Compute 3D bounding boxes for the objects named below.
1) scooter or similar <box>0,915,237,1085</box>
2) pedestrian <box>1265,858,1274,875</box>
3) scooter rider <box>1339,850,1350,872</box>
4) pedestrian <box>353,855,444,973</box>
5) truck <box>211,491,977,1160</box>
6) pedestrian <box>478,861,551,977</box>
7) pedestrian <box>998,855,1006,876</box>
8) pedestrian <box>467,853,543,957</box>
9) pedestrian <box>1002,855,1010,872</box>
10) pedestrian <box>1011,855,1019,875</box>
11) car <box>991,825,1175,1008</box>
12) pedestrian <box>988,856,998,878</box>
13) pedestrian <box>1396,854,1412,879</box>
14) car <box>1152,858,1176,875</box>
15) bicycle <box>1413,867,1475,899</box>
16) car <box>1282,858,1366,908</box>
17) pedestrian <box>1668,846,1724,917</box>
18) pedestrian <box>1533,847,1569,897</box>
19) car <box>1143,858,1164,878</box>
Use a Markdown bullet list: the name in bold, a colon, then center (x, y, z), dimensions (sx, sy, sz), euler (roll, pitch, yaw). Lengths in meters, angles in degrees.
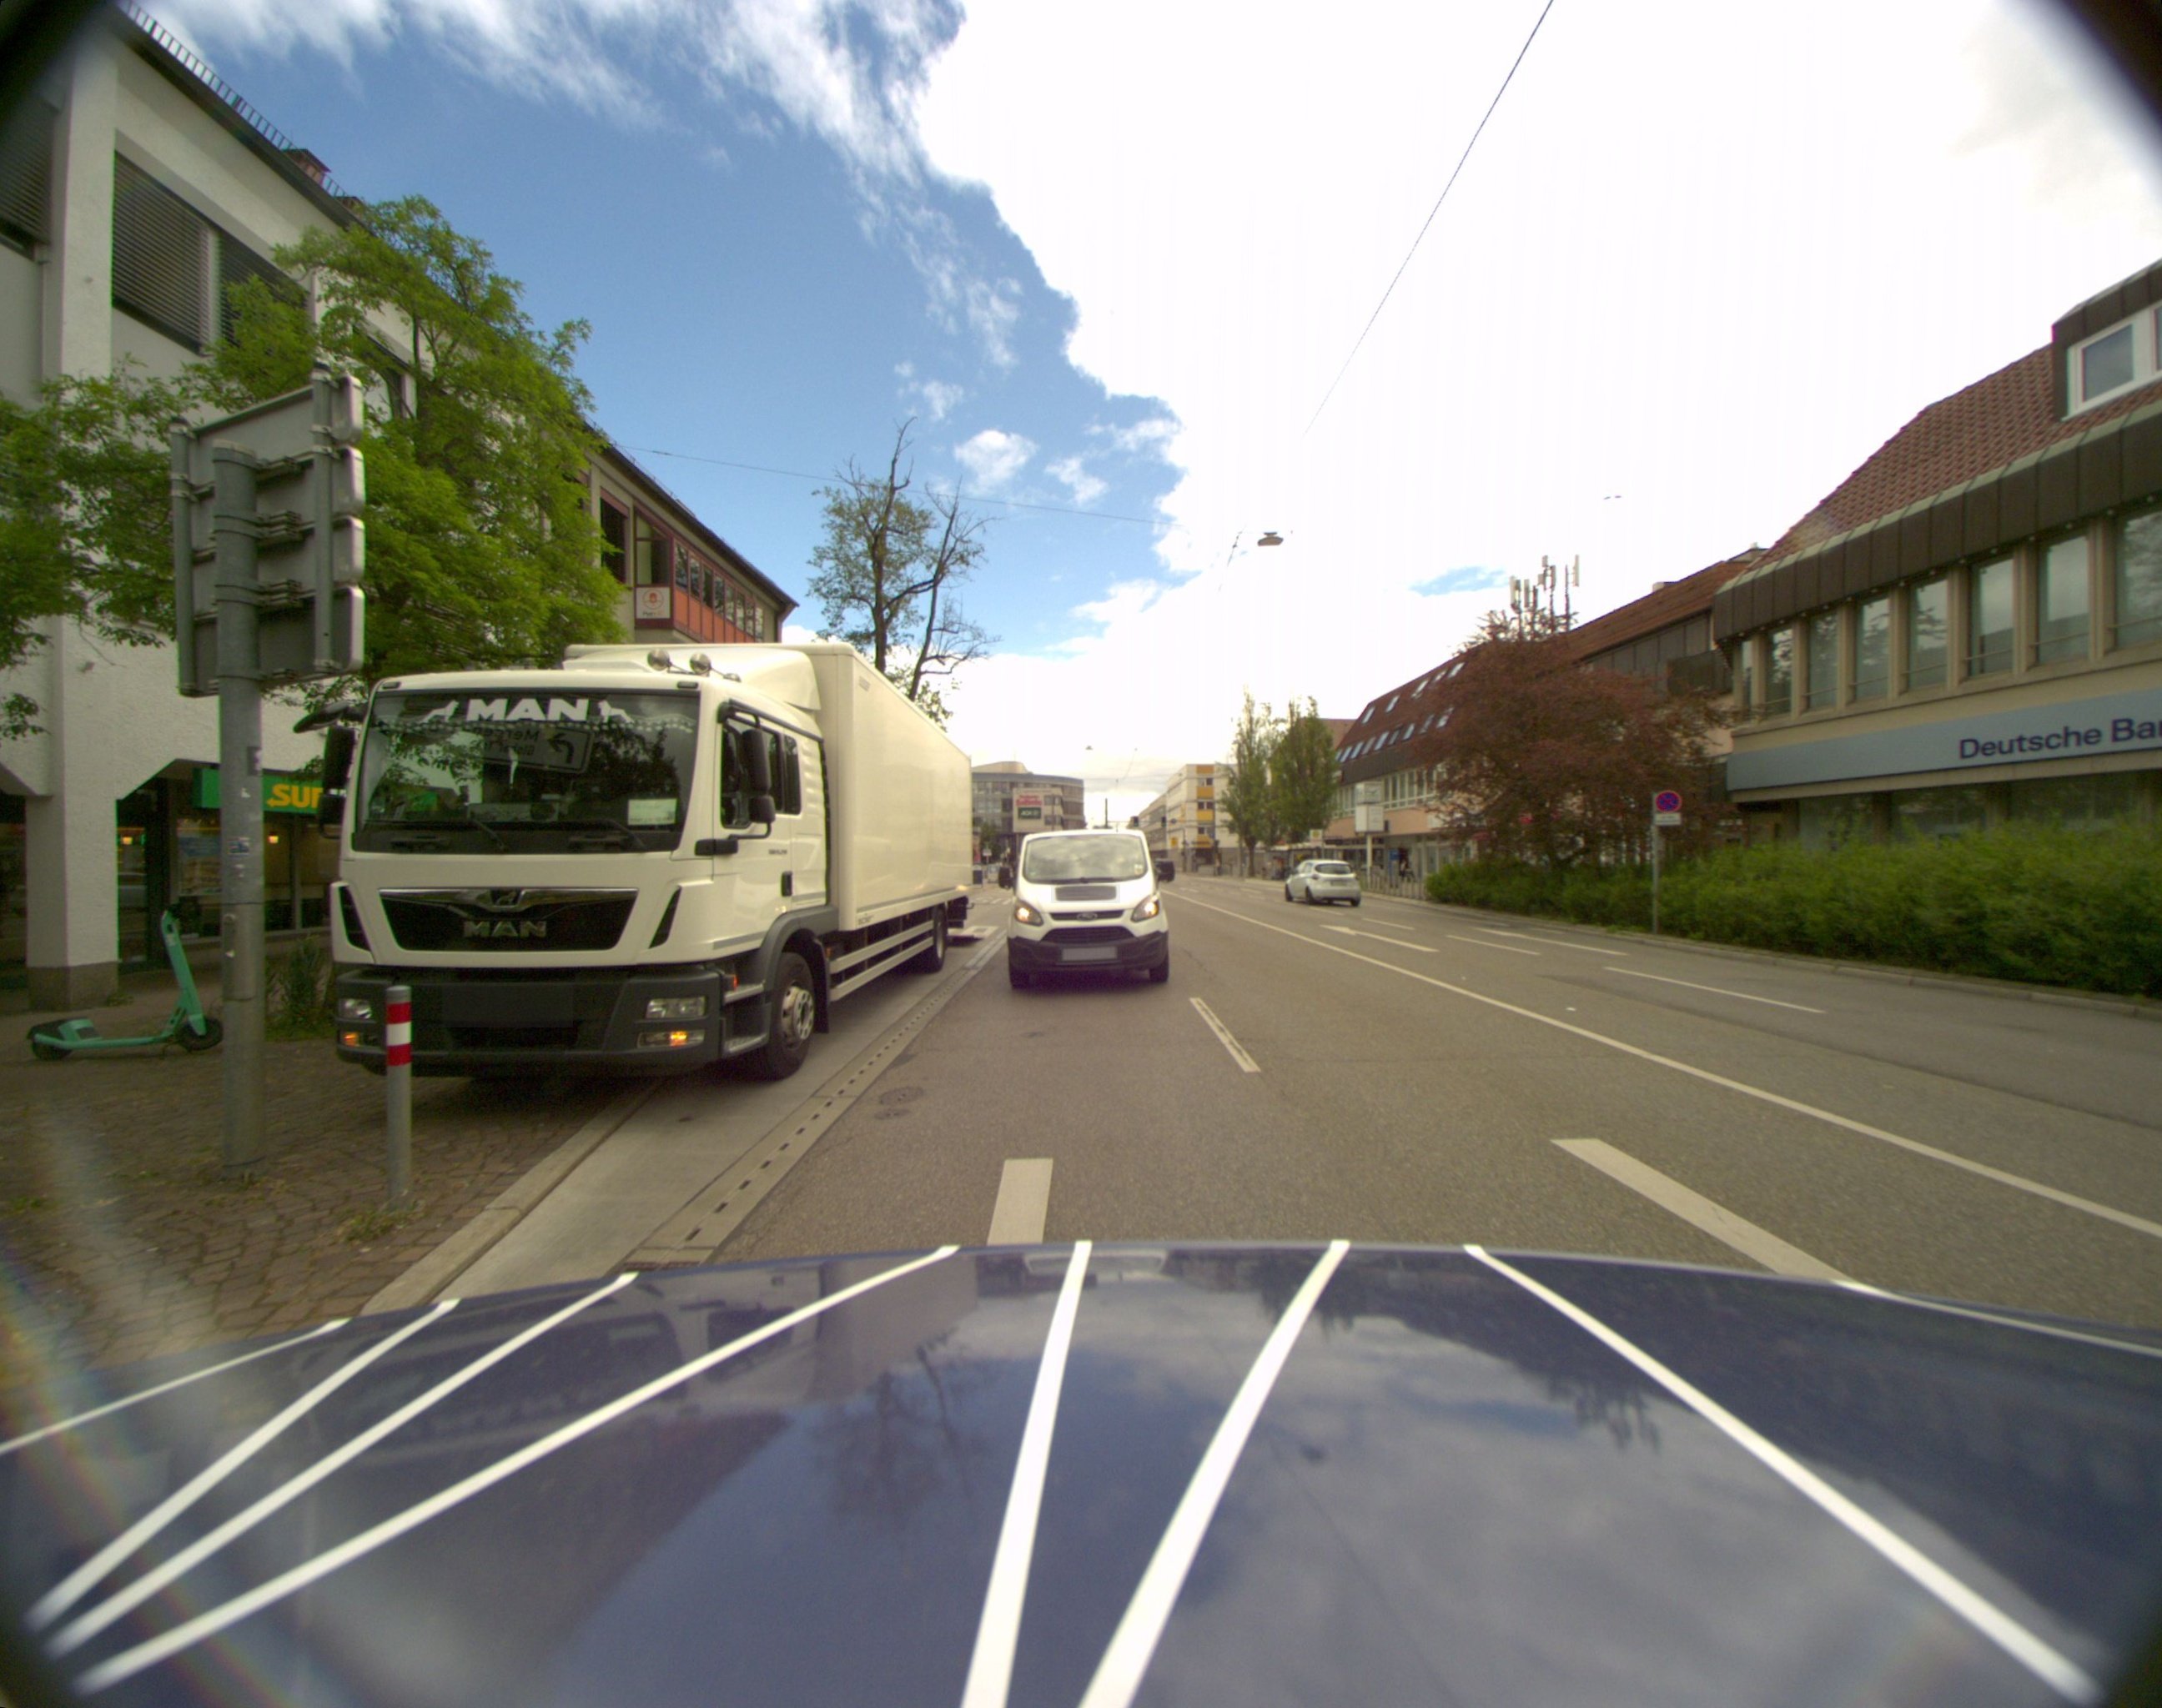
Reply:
- **scooter or similar**: center (-7.425, 1.092, 5.862), dimensions (1.179, 1.189, 0.460), euler (0, 0, -9)
- **pedestrian**: center (18.171, 1.232, 73.206), dimensions (0.587, 1.625, 0.615), euler (-4, 0, -2)
- **scooter rider**: center (21.498, 0.579, 61.993), dimensions (0.615, 1.702, 0.588), euler (-4, 0, -3)
- **pedestrian**: center (-9.545, 0.815, 10.651), dimensions (0.574, 1.593, 0.746), euler (0, 0, 1)
- **truck**: center (-3.259, -0.122, 8.939), dimensions (2.695, 3.540, 9.766), euler (-1, 0, 0)
- **pedestrian**: center (-8.098, 0.899, 10.888), dimensions (0.747, 1.593, 0.573), euler (-1, 0, -28)
- **pedestrian**: center (-6.131, 0.869, 59.101), dimensions (0.614, 1.625, 0.615), euler (0, 1, -3)
- **pedestrian**: center (-9.086, 0.793, 11.998), dimensions (0.745, 1.593, 0.574), euler (-1, 0, -3)
- **pedestrian**: center (-7.312, 0.953, 74.479), dimensions (0.689, 1.625, 0.853), euler (0, 0, -1)
- **pedestrian**: center (-5.472, 0.918, 63.268), dimensions (0.613, 1.668, 0.615), euler (0, 0, 2)
- **car**: center (0.155, 0.721, 10.937), dimensions (1.998, 2.002, 5.000), euler (-1, 0, 3)
- **pedestrian**: center (-6.809, 1.007, 59.095), dimensions (0.720, 1.625, 0.615), euler (0, 1, -3)
- **pedestrian**: center (20.598, 0.804, 48.401), dimensions (0.713, 1.538, 0.588), euler (-1, 0, -1)
- **car**: center (8.597, 1.294, 79.229), dimensions (2.074, 1.728, 4.693), euler (1, 0, 1)
- **bicycle**: center (13.040, 1.040, 27.300), dimensions (2.024, 1.084, 0.648), euler (-1, 0, -9)
- **car**: center (8.363, 0.941, 26.504), dimensions (1.644, 1.559, 3.927), euler (2, 0, 0)
- **pedestrian**: center (15.965, 0.707, 19.748), dimensions (0.727, 1.753, 0.755), euler (-4, 0, -2)
- **pedestrian**: center (17.190, 0.653, 27.795), dimensions (0.727, 1.753, 0.756), euler (-5, 0, 4)
- **car**: center (5.632, 1.076, 59.116), dimensions (1.573, 1.531, 2.962), euler (1, 0, 6)
